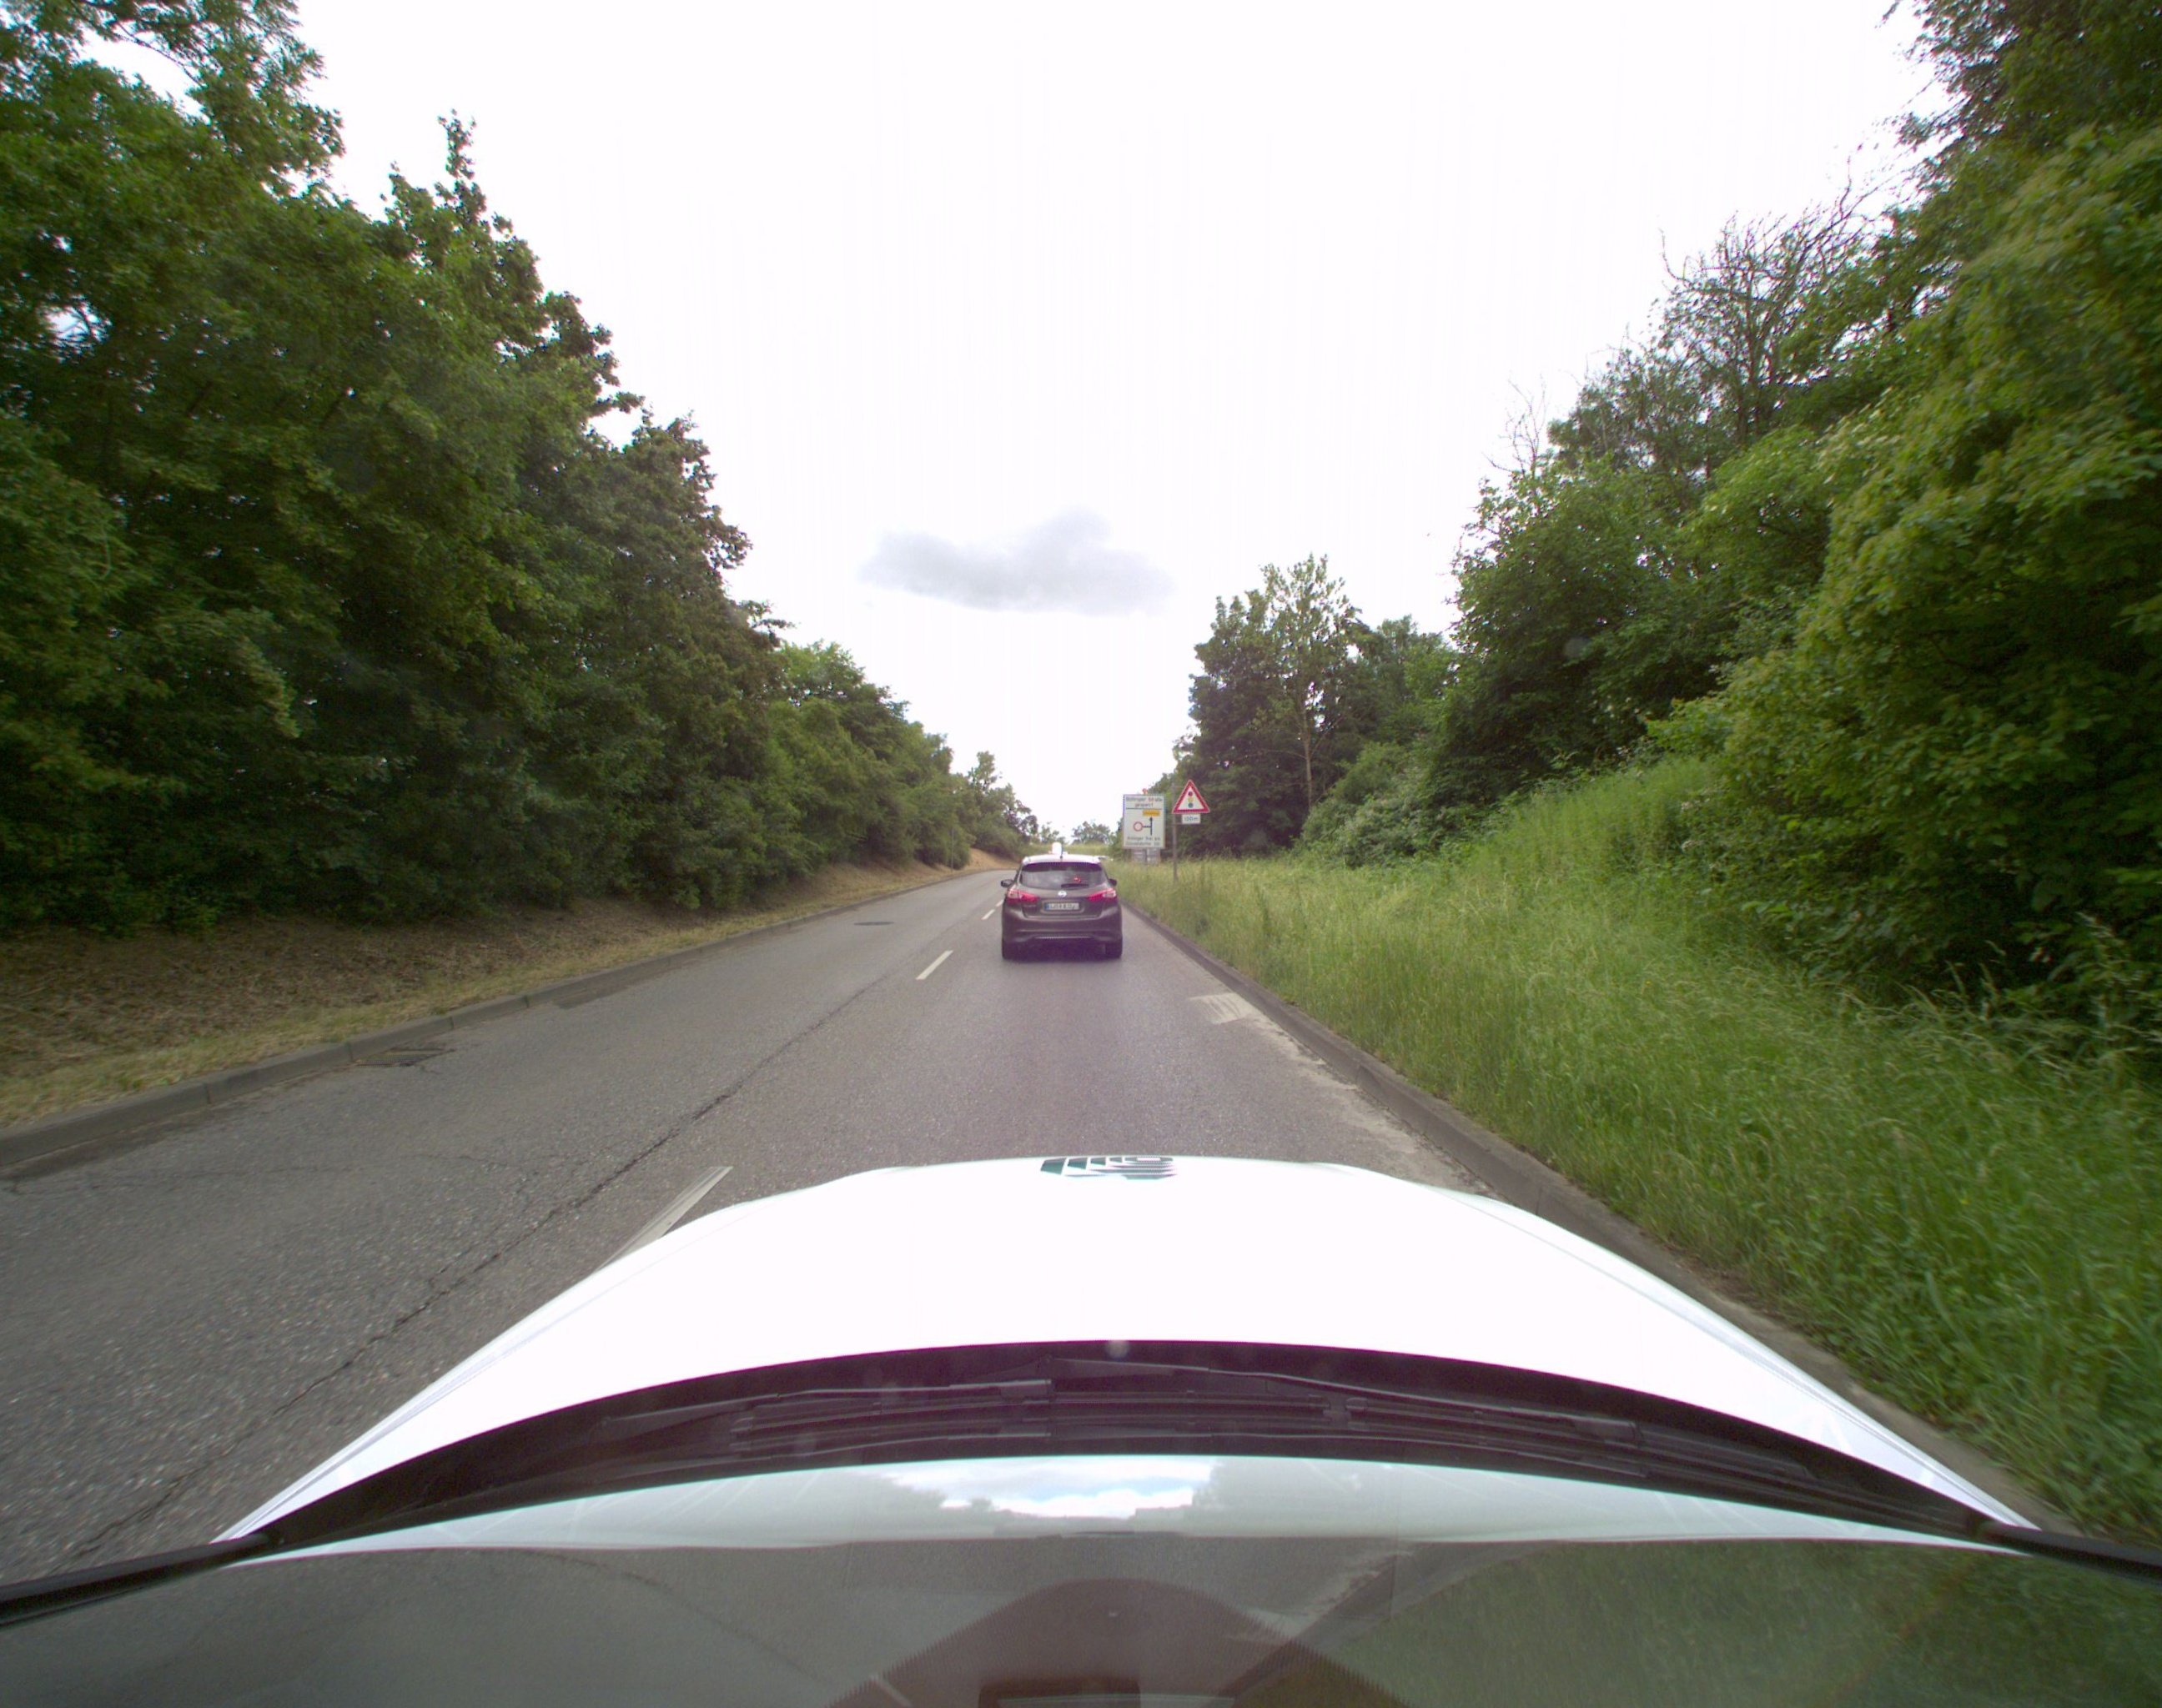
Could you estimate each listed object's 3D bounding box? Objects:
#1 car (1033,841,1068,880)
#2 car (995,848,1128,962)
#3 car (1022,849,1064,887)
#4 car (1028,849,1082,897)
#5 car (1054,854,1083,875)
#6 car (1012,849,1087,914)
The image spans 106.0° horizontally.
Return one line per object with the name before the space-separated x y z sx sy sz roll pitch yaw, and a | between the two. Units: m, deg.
car | -1.602 0.315 43.409 1.731 1.935 3.542 -1 0 -1
car | -0.325 0.697 13.024 1.825 1.556 3.496 -1 0 -2
car | -1.631 0.597 36.169 1.731 1.556 3.542 -1 0 -1
car | -0.888 0.623 28.728 1.731 1.556 3.542 -1 0 -1
car | -0.934 0.764 62.896 1.727 1.526 3.648 -1 0 6
car | -0.809 0.676 21.942 1.825 1.556 3.623 -1 0 -1
